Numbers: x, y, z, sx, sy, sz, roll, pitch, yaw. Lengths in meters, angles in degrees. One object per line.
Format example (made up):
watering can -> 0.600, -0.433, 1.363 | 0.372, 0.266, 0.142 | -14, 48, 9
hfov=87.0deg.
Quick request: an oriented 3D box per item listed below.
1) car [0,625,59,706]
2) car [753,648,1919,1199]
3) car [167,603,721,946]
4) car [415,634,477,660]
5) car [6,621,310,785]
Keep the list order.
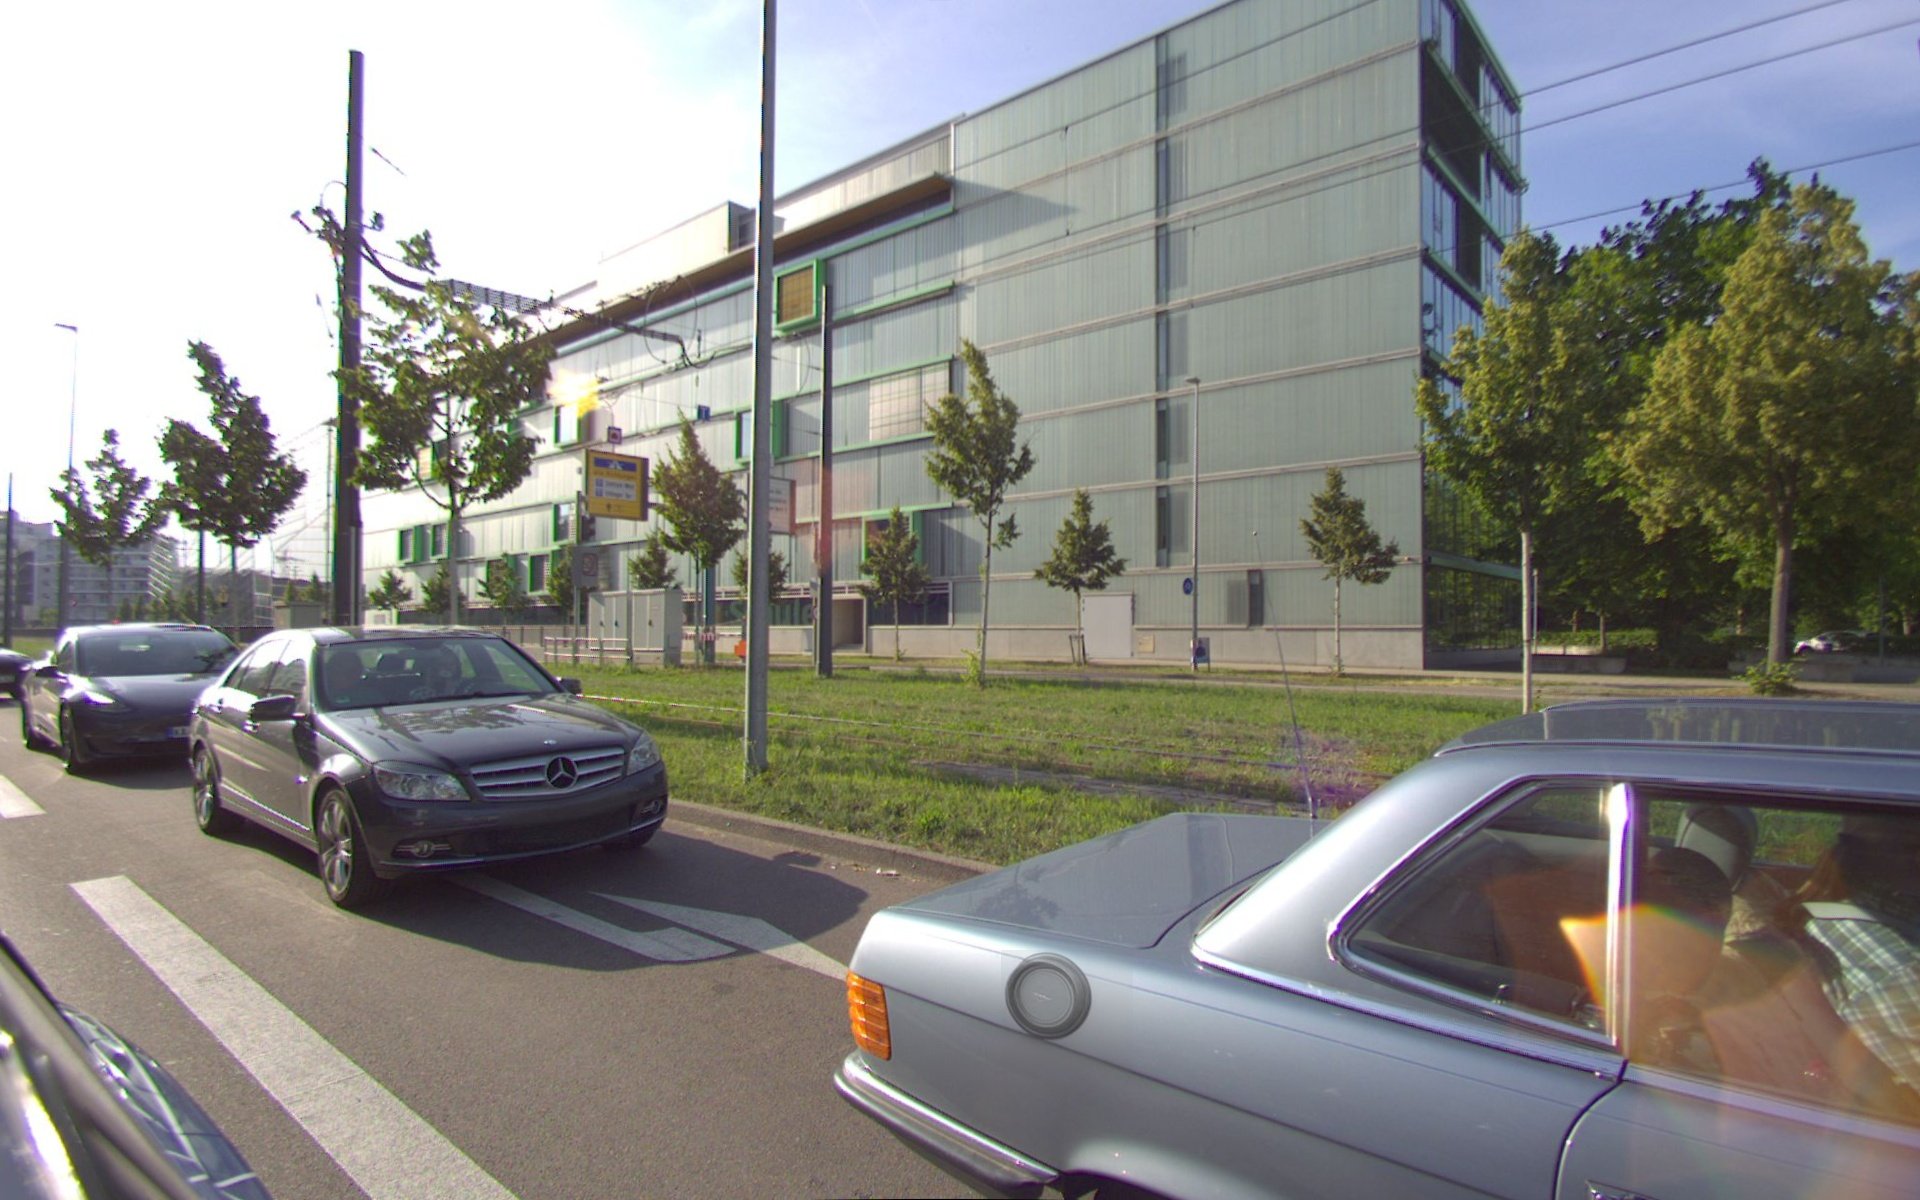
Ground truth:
car -> -19.353, 1.226, 18.935 | 4.439, 1.437, 1.883 | -1, 0, 20
car -> 1.790, 0.779, 1.435 | 4.397, 1.340, 1.746 | -2, -1, 40
car -> -3.582, 0.833, 6.593 | 4.352, 1.490, 1.768 | -2, -1, 42
car -> -31.627, 2.851, 62.189 | 4.219, 1.539, 1.858 | -2, -3, 39
car -> -8.886, 0.985, 11.078 | 4.332, 1.396, 1.870 | -2, -1, 41
